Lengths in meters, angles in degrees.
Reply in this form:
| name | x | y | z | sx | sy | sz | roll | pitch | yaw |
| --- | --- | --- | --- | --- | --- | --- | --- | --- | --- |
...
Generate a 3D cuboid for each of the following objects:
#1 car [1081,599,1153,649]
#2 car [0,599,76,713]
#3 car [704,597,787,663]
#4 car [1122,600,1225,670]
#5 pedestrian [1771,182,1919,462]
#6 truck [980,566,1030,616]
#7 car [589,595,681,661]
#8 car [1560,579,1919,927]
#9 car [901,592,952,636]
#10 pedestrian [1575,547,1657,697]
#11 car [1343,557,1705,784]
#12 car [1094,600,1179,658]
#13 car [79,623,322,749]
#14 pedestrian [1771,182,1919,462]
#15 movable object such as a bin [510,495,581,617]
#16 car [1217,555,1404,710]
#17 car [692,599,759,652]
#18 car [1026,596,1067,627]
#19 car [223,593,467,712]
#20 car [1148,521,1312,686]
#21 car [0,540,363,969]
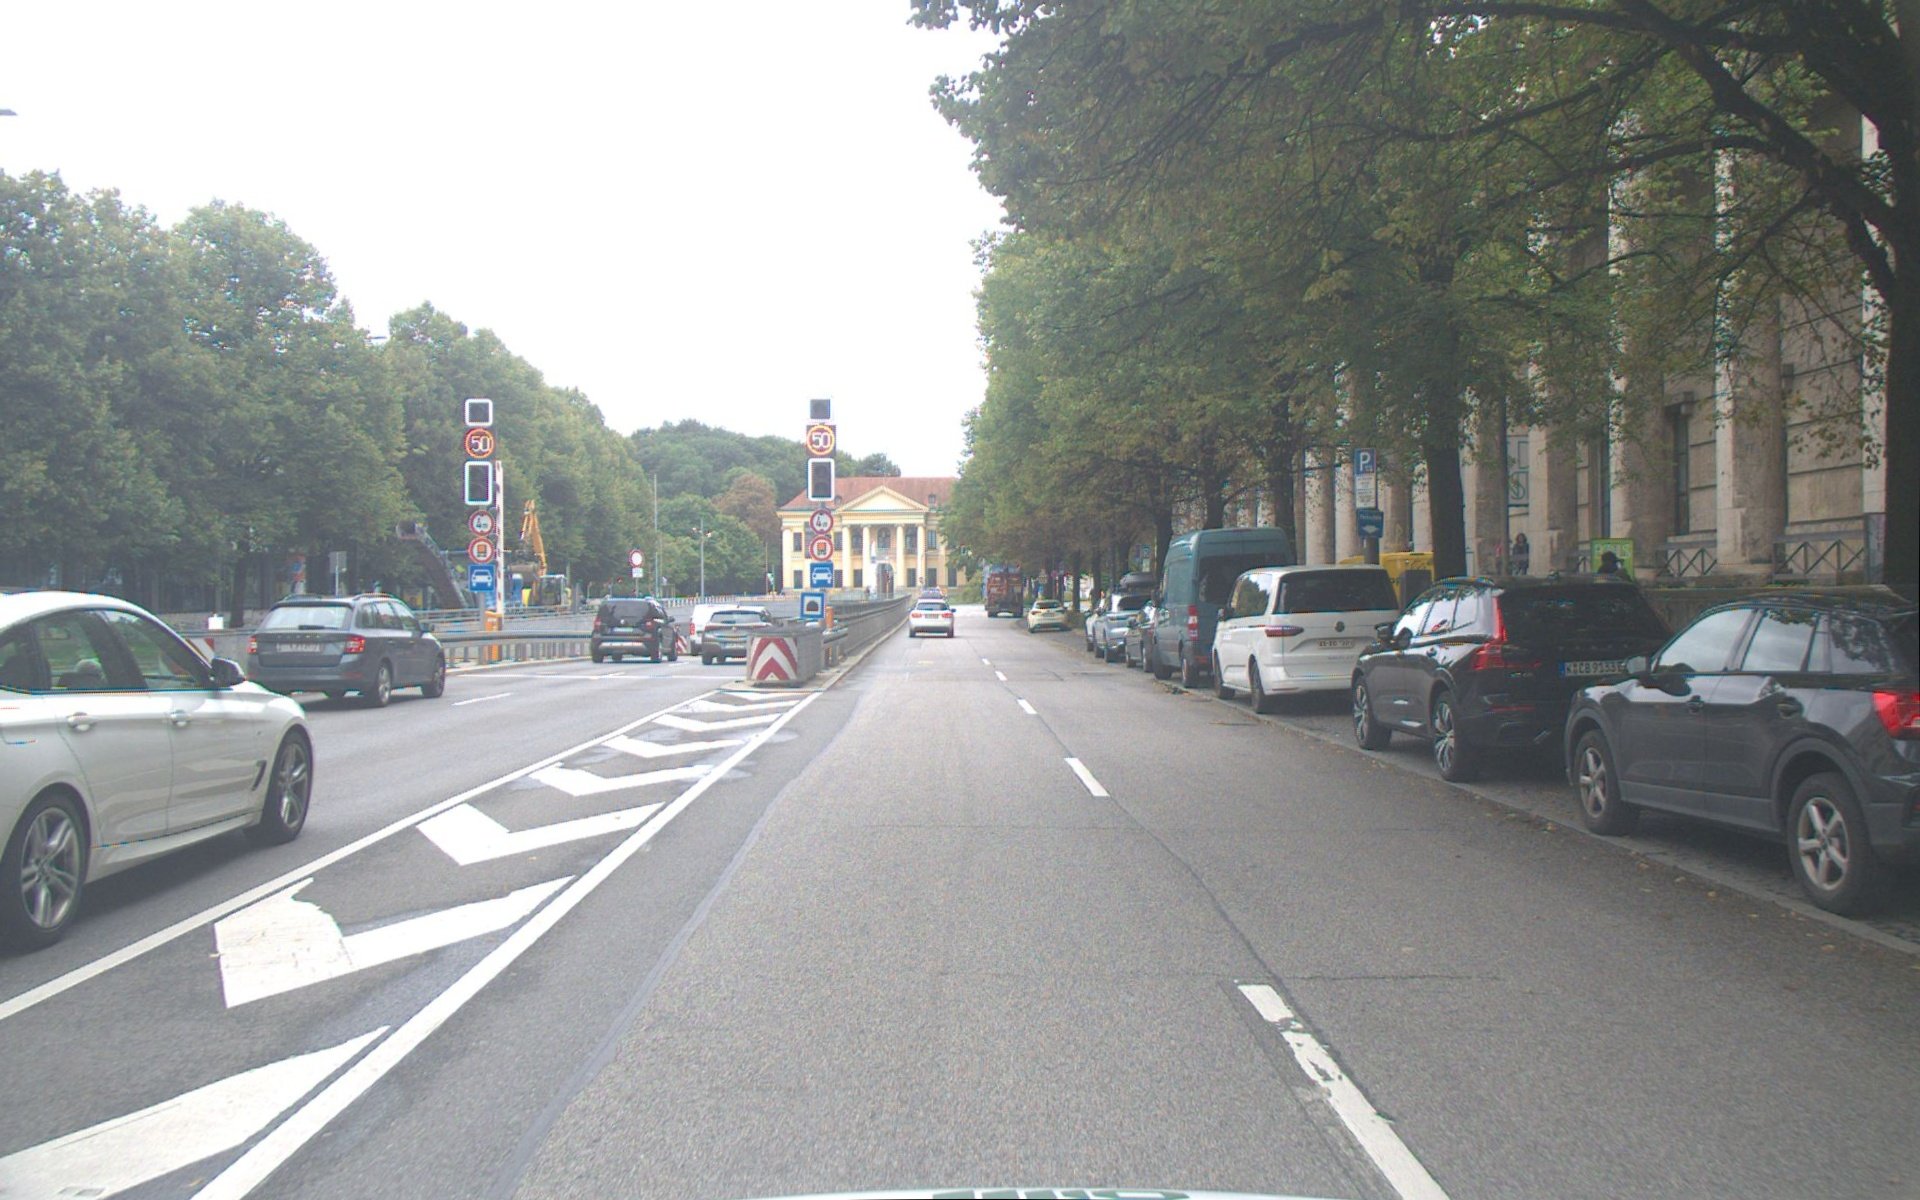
| name | x | y | z | sx | sy | sz | roll | pitch | yaw |
| --- | --- | --- | --- | --- | --- | --- | --- | --- | --- |
| car | 4.482 | 0.665 | 47.645 | 1.689 | 1.347 | 4.027 | -1 | 0 | 0 |
| car | -14.725 | 0.828 | 23.859 | 1.954 | 1.624 | 3.997 | -1 | 0 | -4 |
| car | -5.468 | 0.727 | 42.603 | 1.675 | 1.579 | 3.999 | 1 | 0 | -1 |
| car | 4.554 | 0.712 | 35.776 | 1.689 | 1.388 | 4.027 | -1 | 0 | 0 |
| pedestrian | 8.664 | -2.321 | 13.644 | 1.953 | 2.049 | 4.000 | 1 | 0 | -1 |
| truck | 3.181 | -0.649 | 118.845 | 3.257 | 3.426 | 8.661 | 1 | 0 | -1 |
| car | -8.586 | 0.711 | 44.027 | 1.687 | 1.665 | 4.204 | -1 | 0 | -1 |
| car | 4.956 | 0.639 | 9.171 | 1.785 | 1.490 | 4.027 | -1 | 0 | 0 |
| car | -1.363 | 0.534 | 65.749 | 1.745 | 1.673 | 3.995 | 1 | 0 | -6 |
| pedestrian | 8.656 | 0.283 | 21.850 | 0.763 | 1.943 | 0.771 | 1 | 0 | 0 |
| car | 4.842 | 0.528 | 14.934 | 1.689 | 1.694 | 4.589 | -1 | 0 | 0 |
| car | 4.384 | 0.697 | 41.567 | 1.689 | 1.347 | 4.027 | -1 | 0 | 0 |
| car | -11.184 | 1.207 | 24.695 | 1.954 | 1.624 | 3.997 | -1 | 0 | -4 |
| pedestrian | 8.664 | -2.321 | 13.644 | 1.953 | 2.049 | 4.000 | 1 | 0 | -1 |
| movable object such as a bin | -23.347 | -2.427 | 93.375 | 2.644 | 6.624 | 5.175 | 1 | 0 | -1 |
| car | 4.701 | 0.400 | 22.724 | 1.689 | 1.900 | 4.027 | -1 | 0 | 0 |
| car | -8.738 | 0.911 | 62.013 | 1.860 | 1.880 | 4.954 | -1 | 0 | -1 |
| car | 3.962 | 0.511 | 76.335 | 1.689 | 1.347 | 4.027 | -1 | 0 | 0 |
| car | -8.351 | 0.660 | 22.884 | 1.756 | 1.473 | 4.275 | -1 | 0 | 0 |
| car | 4.713 | 0.046 | 29.612 | 1.953 | 2.689 | 4.876 | 1 | 0 | -2 |
| car | -4.686 | 0.611 | 8.241 | 1.757 | 1.665 | 5.024 | -1 | 0 | -2 |
